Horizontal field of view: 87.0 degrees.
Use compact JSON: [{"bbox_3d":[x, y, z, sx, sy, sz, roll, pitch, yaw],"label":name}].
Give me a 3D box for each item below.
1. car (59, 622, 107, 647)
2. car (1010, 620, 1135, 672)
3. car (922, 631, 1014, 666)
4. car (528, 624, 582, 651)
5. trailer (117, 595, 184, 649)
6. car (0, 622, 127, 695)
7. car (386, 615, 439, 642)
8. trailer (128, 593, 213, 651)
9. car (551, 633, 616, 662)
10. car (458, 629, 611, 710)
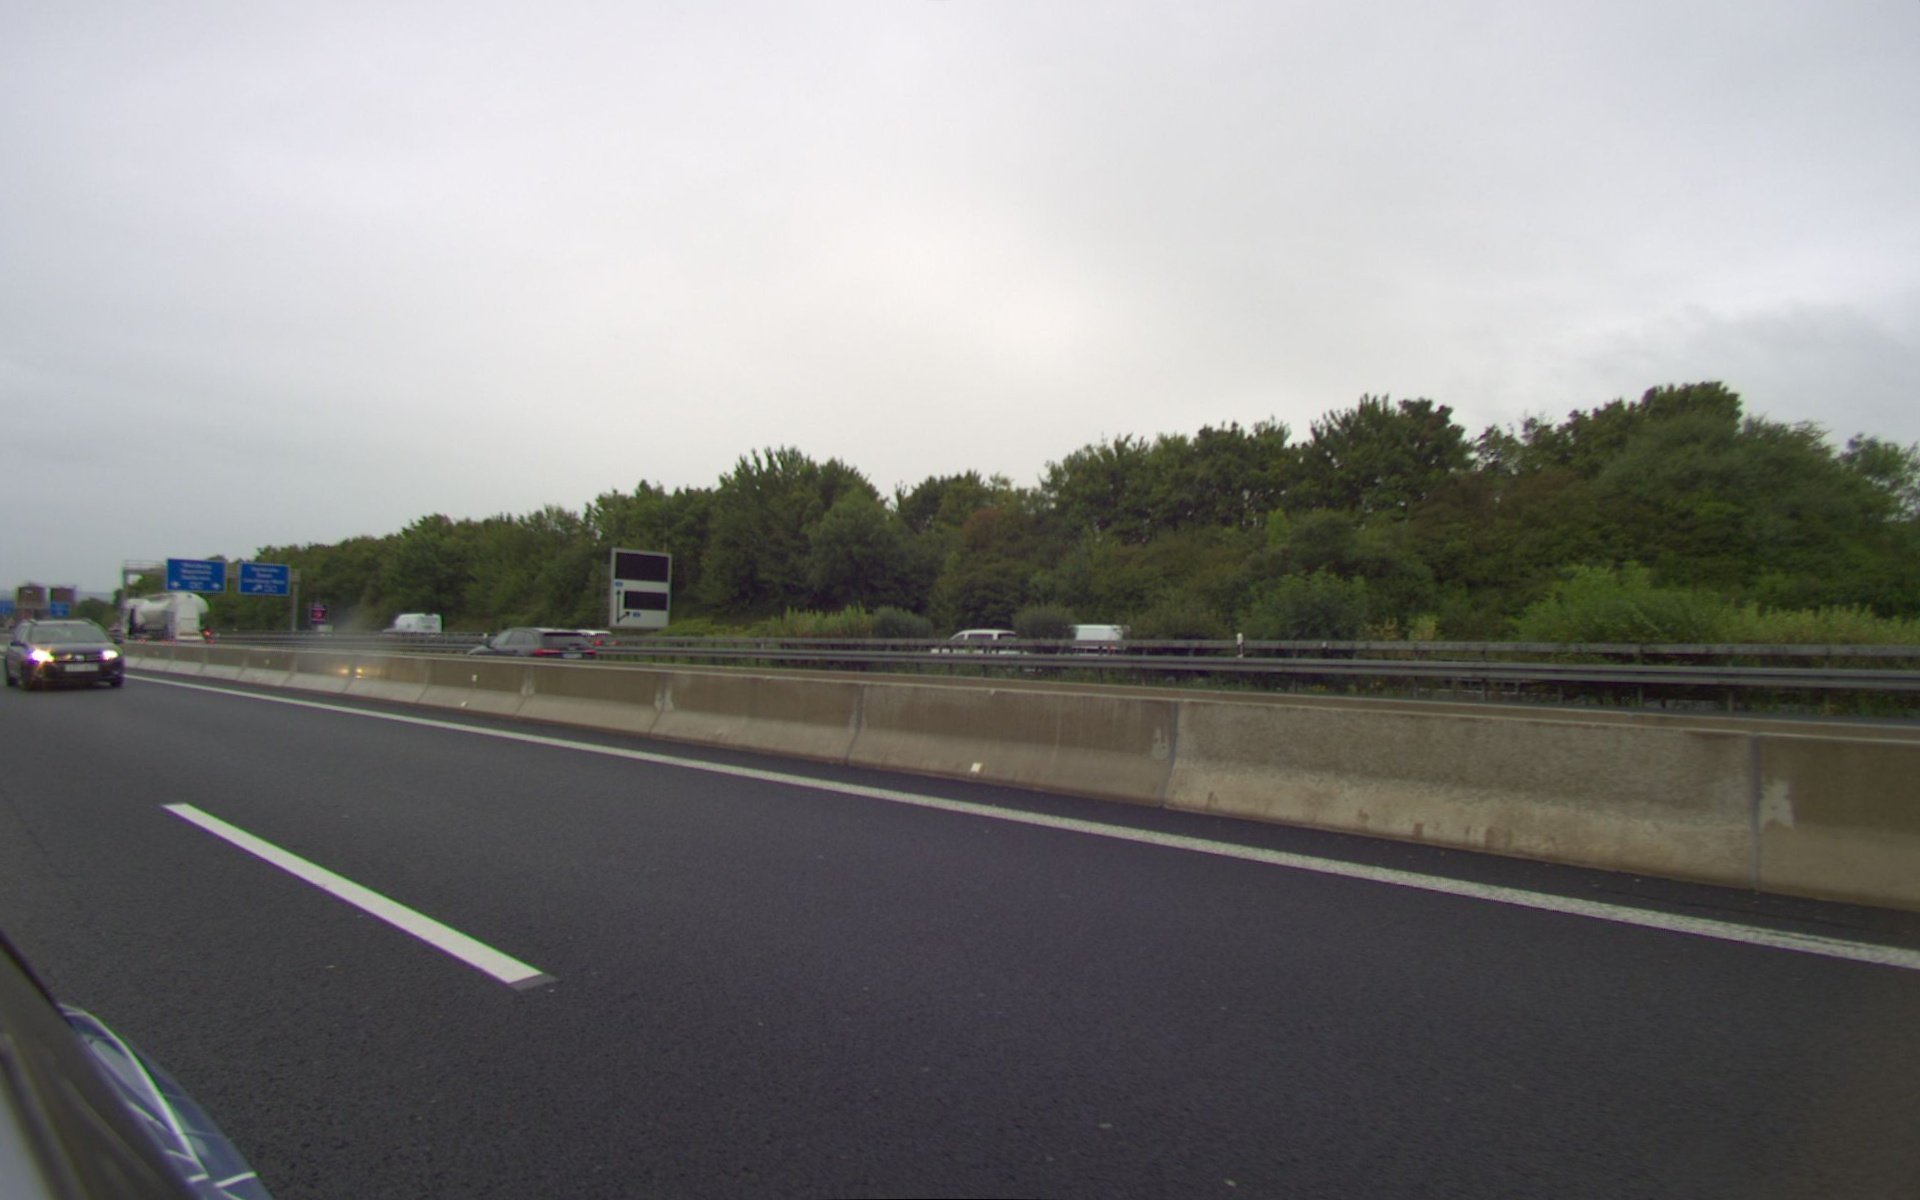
[{"bbox_3d":[-57.299,2.216,66.119,4.354,1.592,1.789,-1,-1,42],"label":"car"},{"bbox_3d":[4.080,1.652,37.292,4.411,1.800,1.781,-1,-2,43],"label":"car"},{"bbox_3d":[0.328,2.155,45.359,3.998,1.453,1.686,-1,-1,41],"label":"car"},{"bbox_3d":[-27.319,2.499,68.218,3.995,1.783,1.687,-1,-1,39],"label":"car"},{"bbox_3d":[-58.970,1.571,73.703,6.487,3.744,2.609,-1,-1,41],"label":"trailer"},{"bbox_3d":[-20.511,1.249,22.984,4.564,1.500,1.704,-1,-1,41],"label":"car"},{"bbox_3d":[-42.090,2.161,77.733,5.296,2.029,1.854,-1,-1,41],"label":"car"},{"bbox_3d":[-54.709,1.508,69.989,10.806,3.765,2.609,-1,-1,41],"label":"trailer"},{"bbox_3d":[-20.765,2.585,55.741,3.998,1.519,1.686,-1,-1,41],"label":"car"},{"bbox_3d":[-11.154,1.727,26.398,4.540,1.890,1.876,-1,-1,41],"label":"car"}]
